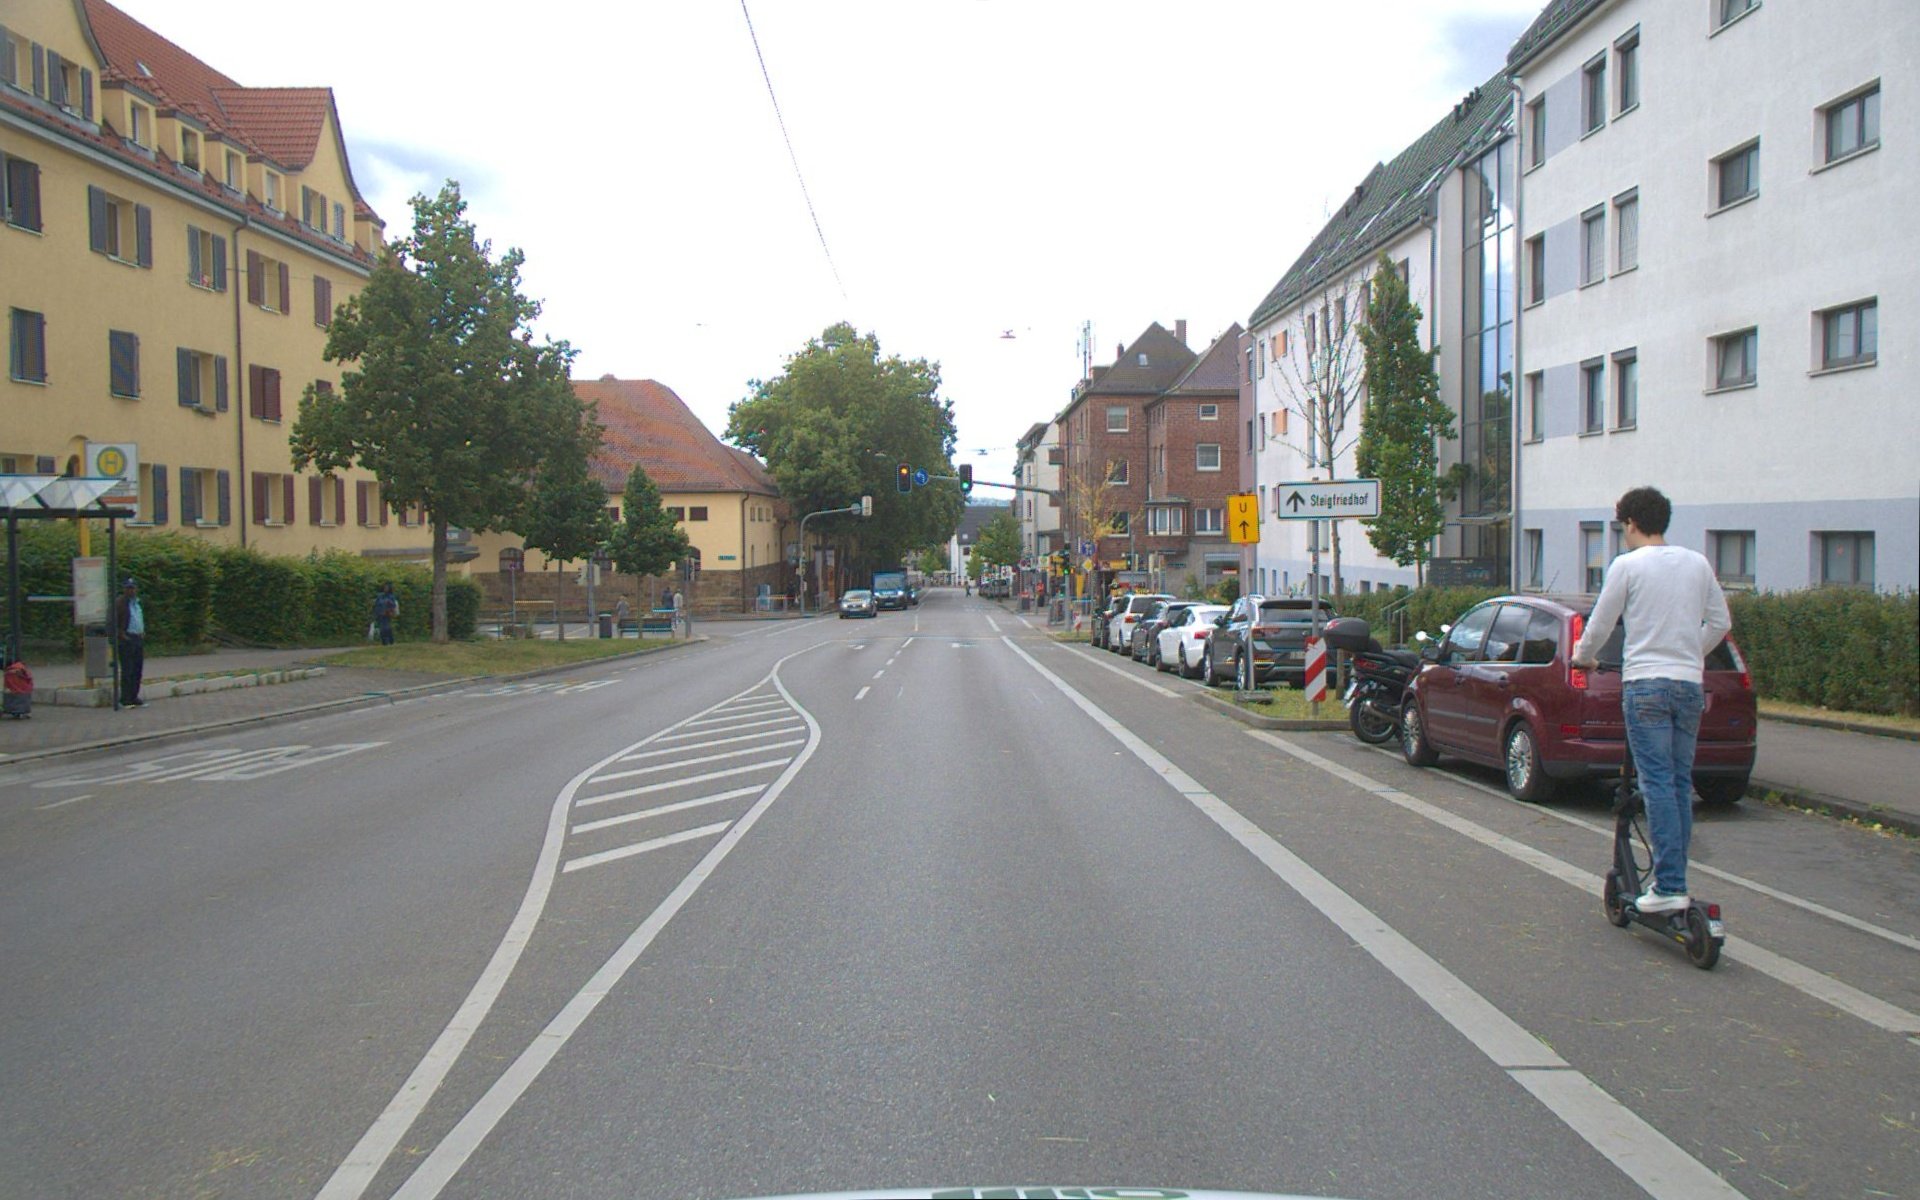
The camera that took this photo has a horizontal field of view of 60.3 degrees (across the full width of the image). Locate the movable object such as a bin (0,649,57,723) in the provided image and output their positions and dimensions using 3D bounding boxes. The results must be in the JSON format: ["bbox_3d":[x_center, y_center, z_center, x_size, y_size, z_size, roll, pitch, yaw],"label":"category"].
[{"bbox_3d":[-11.685,1.062,20.580,0.525,0.860,0.665,1,0,0],"label":"movable object such as a bin"}]

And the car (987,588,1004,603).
[{"bbox_3d":[3.936,-0.483,183.184,1.635,1.574,3.754,0,1,-3],"label":"car"}]

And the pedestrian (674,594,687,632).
[{"bbox_3d":[-13.632,0.628,80.694,0.552,1.808,0.717,0,0,-1],"label":"pedestrian"}]

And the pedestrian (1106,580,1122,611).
[{"bbox_3d":[8.739,-0.252,93.782,0.772,1.685,0.772,-3,0,0],"label":"pedestrian"}]

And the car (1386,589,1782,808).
[{"bbox_3d":[5.083,0.698,14.152,1.647,1.571,4.337,0,1,-2],"label":"car"}]

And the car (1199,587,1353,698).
[{"bbox_3d":[5.198,0.635,27.727,1.599,1.679,4.355,1,0,-2],"label":"car"}]

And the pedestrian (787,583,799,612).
[{"bbox_3d":[-10.446,-0.175,103.437,0.660,1.796,0.726,0,0,2],"label":"pedestrian"}]

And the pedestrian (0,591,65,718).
[{"bbox_3d":[-11.826,0.660,20.604,0.881,1.536,0.806,1,0,0],"label":"pedestrian"}]

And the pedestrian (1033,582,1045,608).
[{"bbox_3d":[5.101,-0.319,106.743,0.553,1.665,0.681,0,0,20],"label":"pedestrian"}]

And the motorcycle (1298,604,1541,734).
[{"bbox_3d":[5.110,0.752,18.451,2.546,1.404,0.692,0,0,-5],"label":"motorcycle"}]

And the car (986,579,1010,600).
[{"bbox_3d":[3.634,-1.052,159.284,1.954,1.969,4.916,0,1,-3],"label":"car"}]

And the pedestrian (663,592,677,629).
[{"bbox_3d":[-14.249,0.528,81.342,0.552,1.808,0.842,0,0,-1],"label":"pedestrian"}]

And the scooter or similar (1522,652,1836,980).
[{"bbox_3d":[3.146,0.872,7.459,0.480,1.183,2.074,0,1,-1],"label":"scooter or similar"}]

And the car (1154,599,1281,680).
[{"bbox_3d":[5.074,0.730,33.159,1.695,1.438,4.498,1,1,-2],"label":"car"}]

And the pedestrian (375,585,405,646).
[{"bbox_3d":[-15.492,0.418,44.958,0.627,1.647,0.618,0,0,-2],"label":"pedestrian"}]

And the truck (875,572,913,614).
[{"bbox_3d":[-4.143,-0.459,103.353,2.250,2.469,6.407,-2,1,-3],"label":"truck"}]

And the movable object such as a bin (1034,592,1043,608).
[{"bbox_3d":[5.050,0.005,106.525,0.443,1.075,0.410,0,0,19],"label":"movable object such as a bin"}]

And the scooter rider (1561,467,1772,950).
[{"bbox_3d":[3.142,0.457,7.412,0.613,2.049,0.757,0,0,-1],"label":"scooter rider"}]

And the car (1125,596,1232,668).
[{"bbox_3d":[5.057,0.700,38.856,1.710,1.493,4.948,1,1,-2],"label":"car"}]

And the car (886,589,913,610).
[{"bbox_3d":[-4.422,-0.052,120.590,1.667,1.439,4.193,-1,1,1],"label":"car"}]

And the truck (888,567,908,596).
[{"bbox_3d":[-7.301,-2.182,195.379,2.185,3.405,7.448,0,1,-1],"label":"truck"}]

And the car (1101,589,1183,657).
[{"bbox_3d":[4.966,0.582,45.618,1.625,1.746,4.550,1,0,-2],"label":"car"}]

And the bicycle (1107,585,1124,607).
[{"bbox_3d":[8.778,-0.255,93.270,0.744,1.214,2.391,0,1,0],"label":"bicycle"}]

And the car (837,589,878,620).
[{"bbox_3d":[-5.310,0.198,86.123,1.720,1.498,4.307,-1,1,1],"label":"car"}]

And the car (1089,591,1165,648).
[{"bbox_3d":[5.064,0.582,50.651,1.699,1.616,4.571,1,0,-2],"label":"car"}]

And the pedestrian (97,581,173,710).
[{"bbox_3d":[-11.450,0.617,22.978,0.585,1.757,0.861,0,0,2],"label":"pedestrian"}]

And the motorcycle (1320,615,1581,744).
[{"bbox_3d":[5.138,0.816,17.402,2.546,1.301,0.752,0,0,-5],"label":"motorcycle"}]

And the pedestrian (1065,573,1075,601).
[{"bbox_3d":[6.900,-0.817,103.975,0.633,1.780,0.778,0,0,5],"label":"pedestrian"}]

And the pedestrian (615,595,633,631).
[{"bbox_3d":[-15.190,0.592,74.761,0.552,1.594,0.843,0,0,5],"label":"pedestrian"}]

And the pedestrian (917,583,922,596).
[{"bbox_3d":[-6.315,-1.617,258.580,0.620,2.049,0.784,0,0,1],"label":"pedestrian"}]
